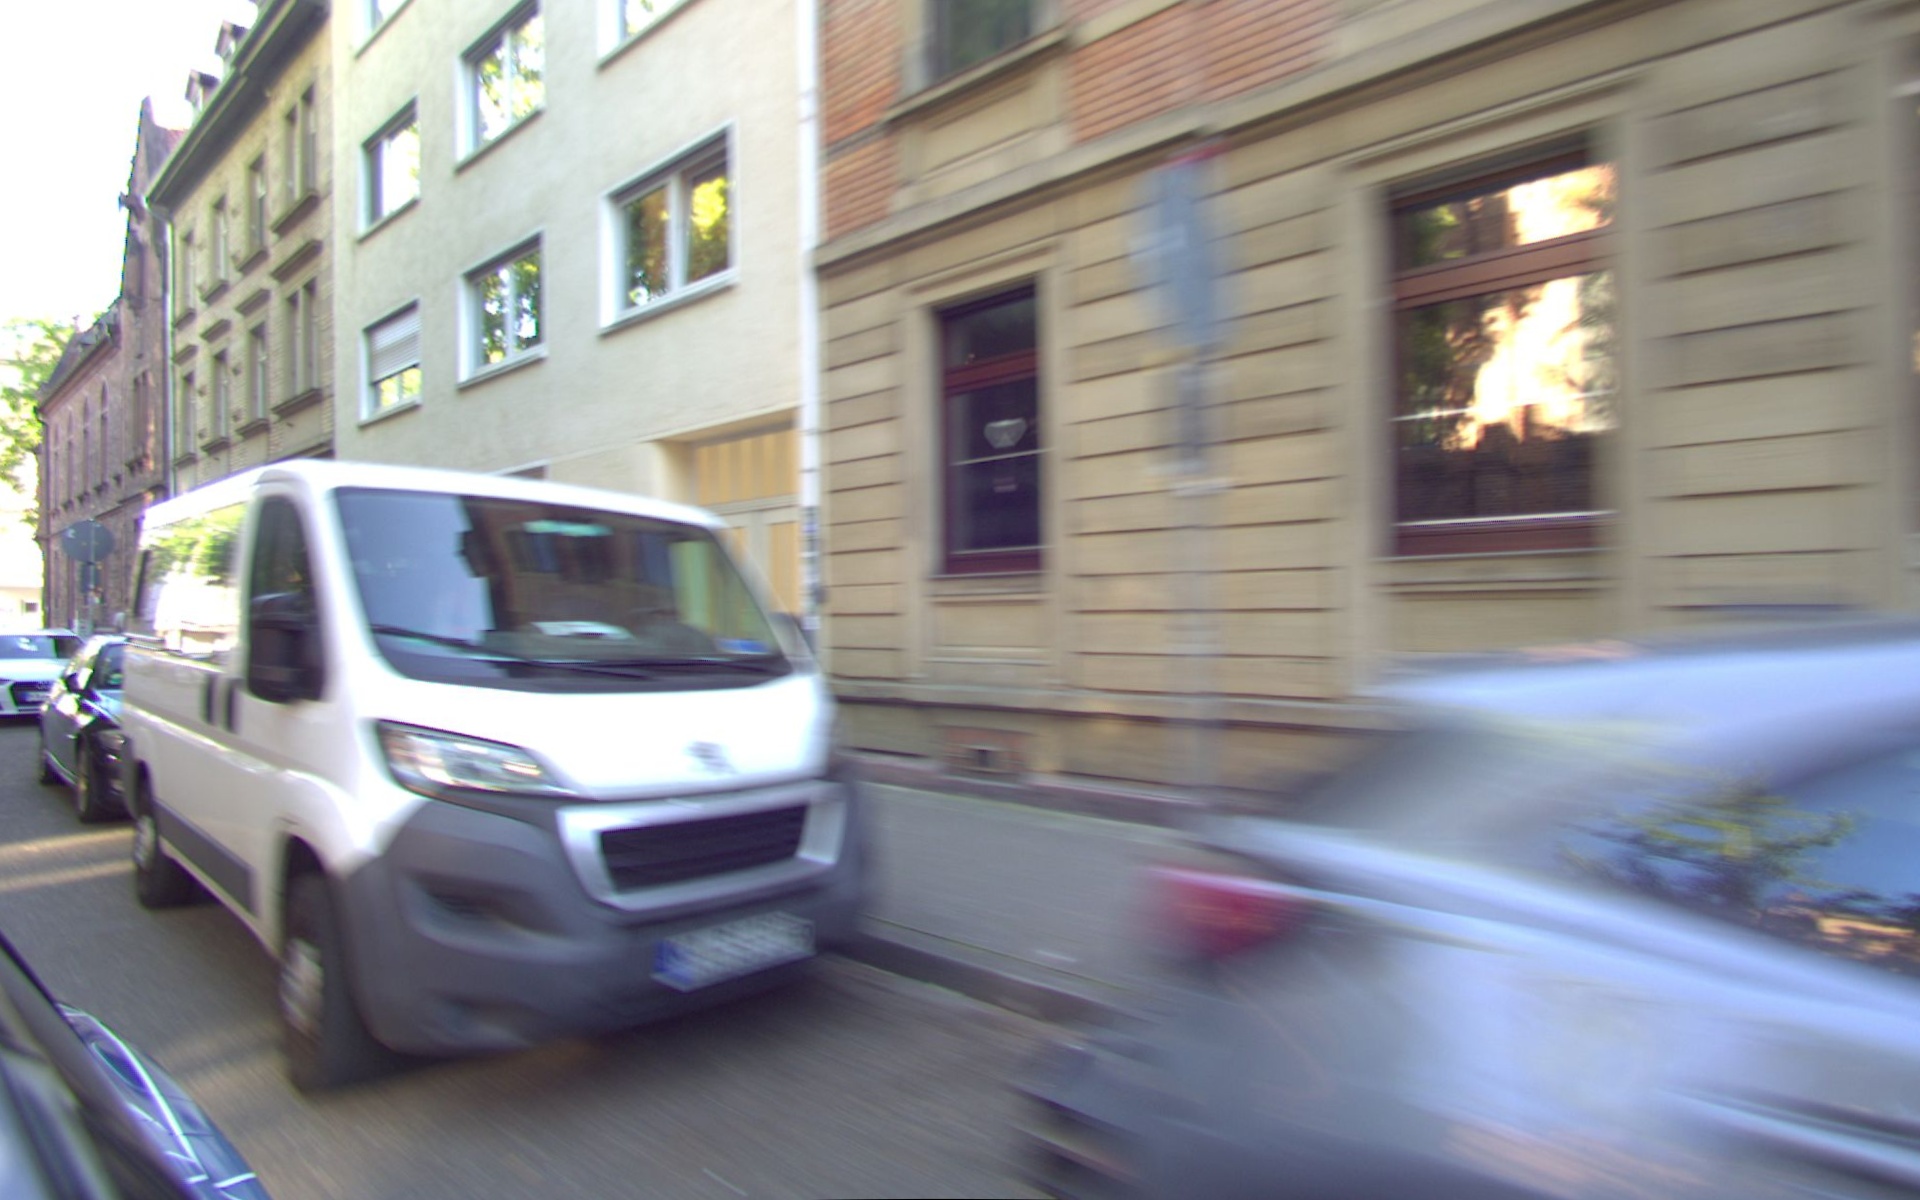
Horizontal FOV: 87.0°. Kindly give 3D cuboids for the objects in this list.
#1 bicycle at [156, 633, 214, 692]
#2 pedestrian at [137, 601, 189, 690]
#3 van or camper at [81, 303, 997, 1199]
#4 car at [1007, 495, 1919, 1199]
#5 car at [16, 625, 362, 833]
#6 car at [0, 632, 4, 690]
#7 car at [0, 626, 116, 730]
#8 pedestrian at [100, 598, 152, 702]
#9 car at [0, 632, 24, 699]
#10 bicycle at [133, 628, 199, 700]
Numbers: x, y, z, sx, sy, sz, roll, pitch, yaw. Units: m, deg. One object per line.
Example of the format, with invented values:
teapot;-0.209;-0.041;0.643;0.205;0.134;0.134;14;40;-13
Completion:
bicycle;-16.257;1.293;21.221;1.843;1.156;0.564;-2;1;41
pedestrian;-17.915;1.012;22.747;0.762;1.943;0.759;-2;-1;38
van or camper;-2.467;0.475;4.927;5.154;2.164;2.153;-2;-4;43
car;2.210;0.687;0.690;4.191;1.526;1.748;-2;-3;41
car;-6.995;0.958;8.998;4.315;1.413;1.712;-2;-4;43
car;-26.020;1.524;26.074;3.803;1.428;1.690;-1;-3;43
car;-15.007;1.175;16.117;4.519;1.467;1.712;-2;-3;42
pedestrian;-15.183;0.899;18.426;1.114;1.816;0.483;-2;1;40
car;-22.567;1.433;22.892;3.803;1.428;1.690;-1;-3;43
bicycle;-14.749;1.162;18.786;1.843;1.253;0.564;-2;1;41
